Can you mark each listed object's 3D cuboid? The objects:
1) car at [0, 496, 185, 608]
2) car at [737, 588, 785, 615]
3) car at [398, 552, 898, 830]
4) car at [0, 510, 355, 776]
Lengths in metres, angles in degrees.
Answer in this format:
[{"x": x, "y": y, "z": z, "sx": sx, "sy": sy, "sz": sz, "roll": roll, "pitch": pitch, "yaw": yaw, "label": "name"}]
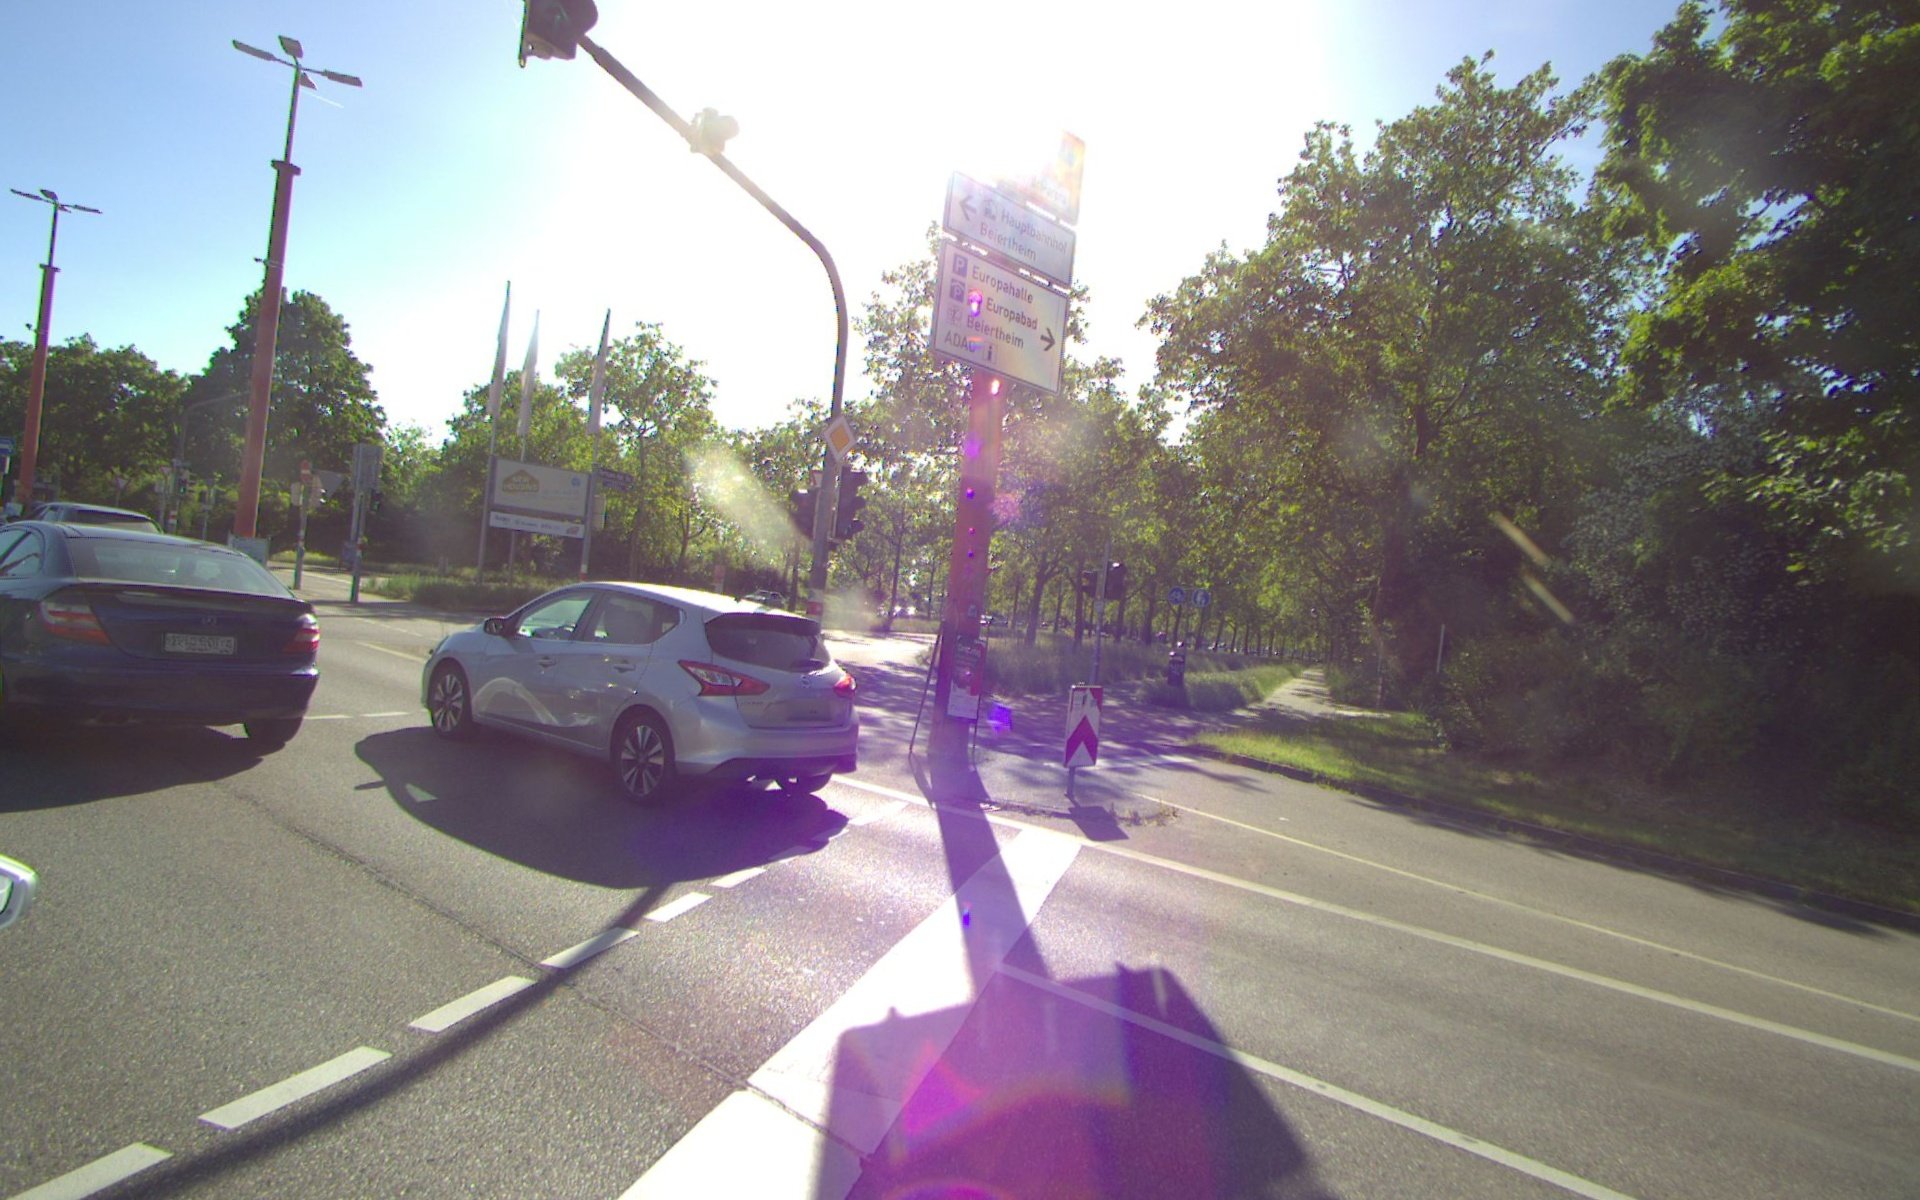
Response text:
[{"x": -15.570, "y": -0.879, "z": 17.784, "sx": 4.161, "sy": 1.525, "sz": 1.769, "roll": 6, "pitch": -2, "yaw": 36, "label": "car"}, {"x": -15.109, "y": 0.118, "z": 76.628, "sx": 1.831, "sy": 1.534, "sz": 4.143, "roll": 7, "pitch": -2, "yaw": 14, "label": "car"}, {"x": -2.708, "y": 0.617, "z": 8.346, "sx": 4.073, "sy": 1.535, "sz": 1.723, "roll": 7, "pitch": -2, "yaw": 36, "label": "car"}, {"x": -6.371, "y": 0.162, "z": 7.433, "sx": 3.987, "sy": 1.437, "sz": 1.719, "roll": 6, "pitch": -1, "yaw": 36, "label": "car"}]
